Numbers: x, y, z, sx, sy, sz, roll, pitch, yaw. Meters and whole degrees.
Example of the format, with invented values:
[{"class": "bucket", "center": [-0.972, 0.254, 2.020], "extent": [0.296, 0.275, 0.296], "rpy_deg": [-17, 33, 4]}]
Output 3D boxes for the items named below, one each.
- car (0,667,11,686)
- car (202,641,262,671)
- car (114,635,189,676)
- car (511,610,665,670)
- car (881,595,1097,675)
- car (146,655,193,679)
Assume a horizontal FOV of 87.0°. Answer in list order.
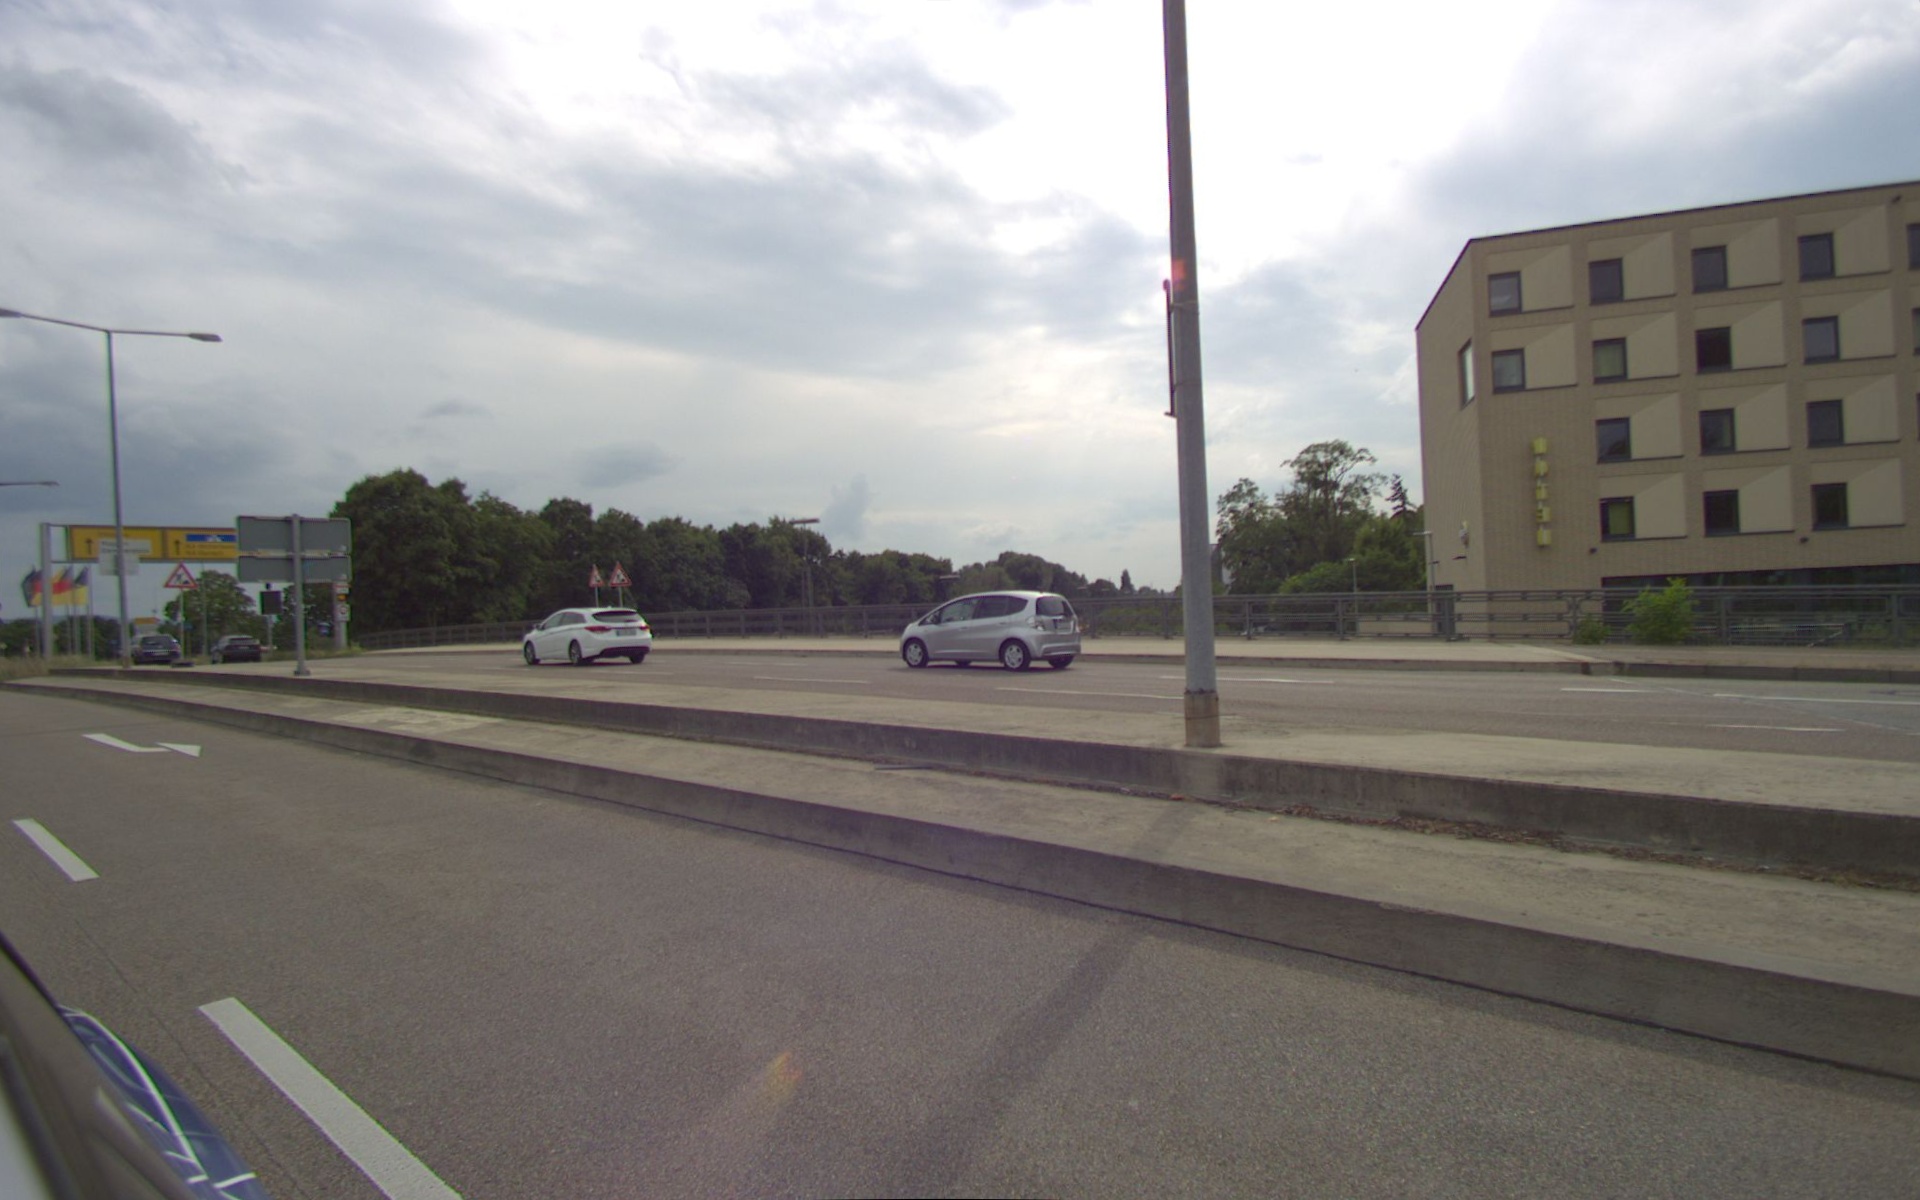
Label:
[{"class": "car", "center": [-83.739, 6.643, 87.648], "extent": [3.913, 1.543, 1.706], "rpy_deg": [-3, -1, 39]}, {"class": "car", "center": [-43.265, 3.322, 60.141], "extent": [4.543, 1.652, 1.868], "rpy_deg": [-3, -1, 41]}, {"class": "car", "center": [-36.538, 2.503, 45.697], "extent": [4.583, 1.652, 1.867], "rpy_deg": [-3, -1, 42]}, {"class": "car", "center": [-9.892, 1.058, 26.690], "extent": [4.882, 1.426, 1.897], "rpy_deg": [-3, -2, 44]}, {"class": "car", "center": [0.515, 0.660, 20.045], "extent": [4.025, 1.426, 1.791], "rpy_deg": [-2, -1, 39]}, {"class": "car", "center": [-57.549, 4.850, 73.639], "extent": [4.451, 1.543, 1.867], "rpy_deg": [-3, -1, 41]}]
